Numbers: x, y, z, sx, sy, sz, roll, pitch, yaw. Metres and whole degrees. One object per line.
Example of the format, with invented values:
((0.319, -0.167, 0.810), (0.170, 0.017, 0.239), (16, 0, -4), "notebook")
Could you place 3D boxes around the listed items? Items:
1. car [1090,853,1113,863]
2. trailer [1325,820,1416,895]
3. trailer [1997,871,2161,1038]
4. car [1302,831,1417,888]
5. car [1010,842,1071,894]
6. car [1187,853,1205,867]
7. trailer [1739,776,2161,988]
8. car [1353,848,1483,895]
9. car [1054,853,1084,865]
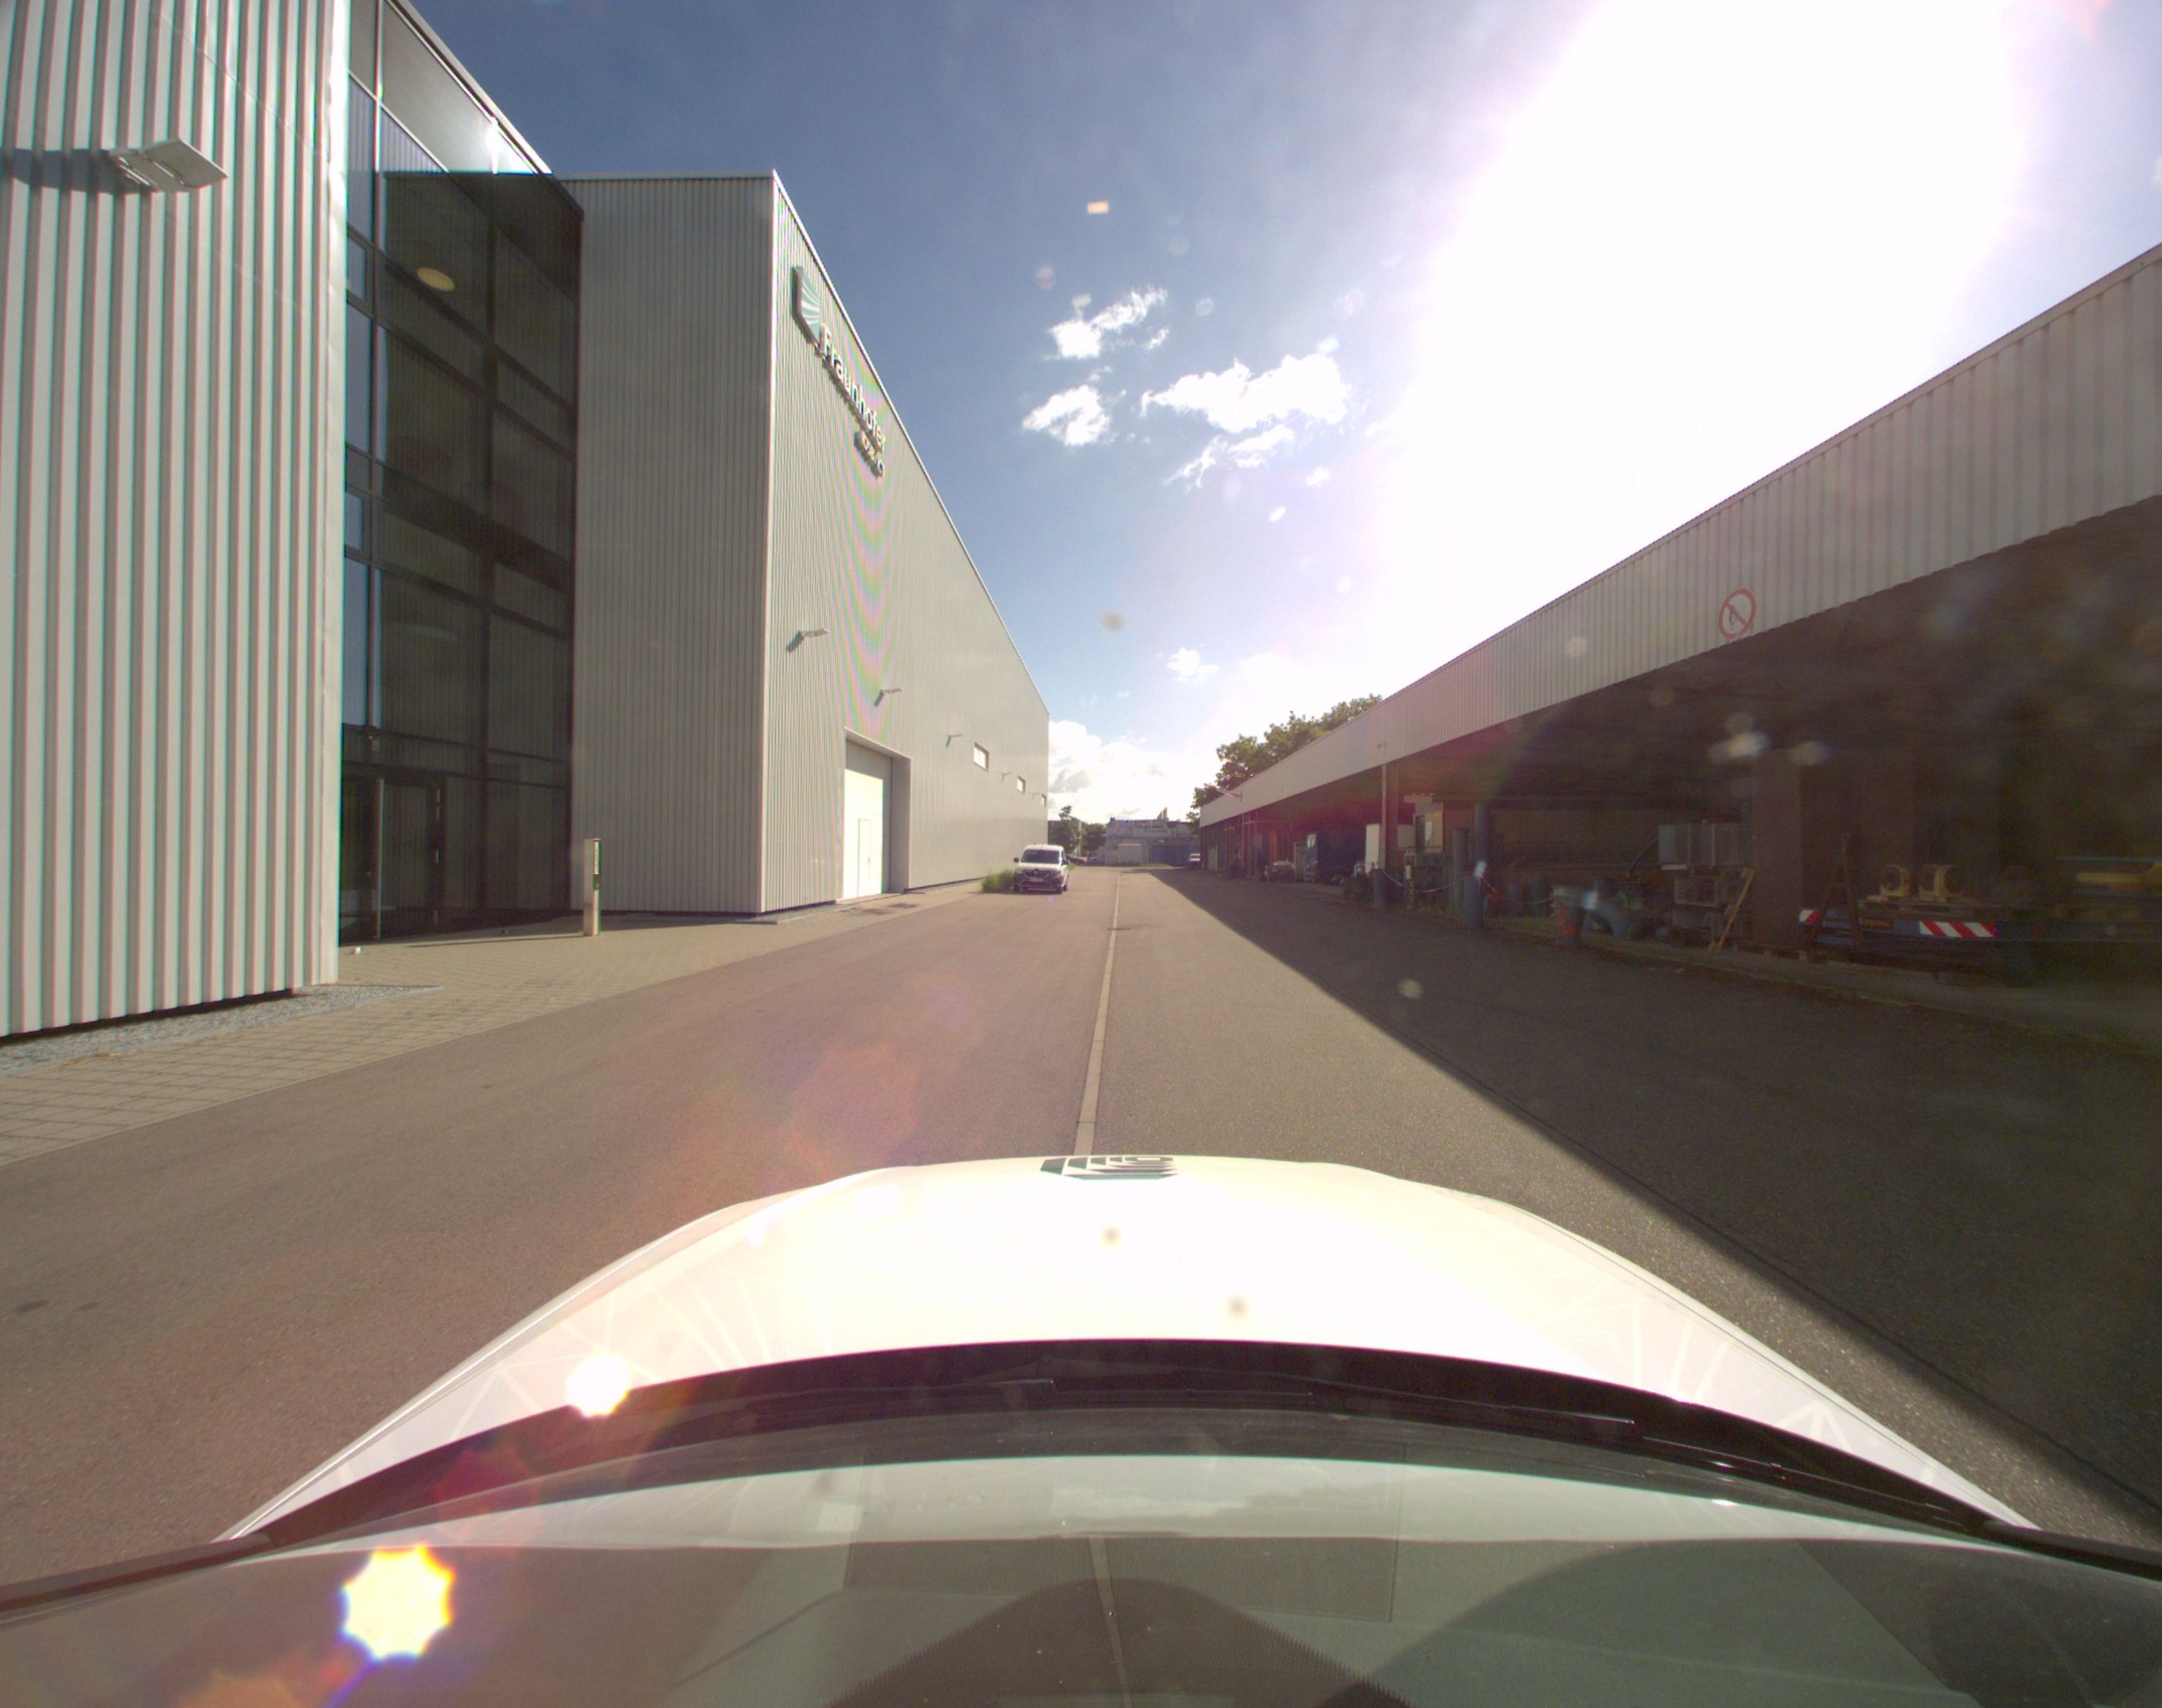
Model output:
((3.511, 0.670, 141.097), (3.972, 1.598, 1.848), (2, -2, 1), "car")
((9.605, 0.124, 27.148), (2.513, 2.399, 1.728), (0, -1, 3), "trailer")
((10.424, 0.706, 5.616), (5.827, 1.133, 2.142), (0, 0, 0), "trailer")
((12.205, 0.248, 35.846), (4.414, 2.310, 1.917), (2, -2, 3), "car")
((-1.454, 0.477, 31.034), (1.811, 1.787, 4.409), (2, 0, 3), "car")
((14.133, 0.743, 100.334), (1.953, 1.564, 4.064), (2, 1, 5), "car")
((10.887, 0.262, 8.814), (5.741, 2.032, 2.080), (0, 0, 3), "trailer")
((12.063, 0.632, 29.319), (4.021, 1.525, 1.685), (2, -2, 3), "car")
((-1.678, 0.697, 113.375), (3.972, 1.598, 1.742), (2, -2, 1), "car")
